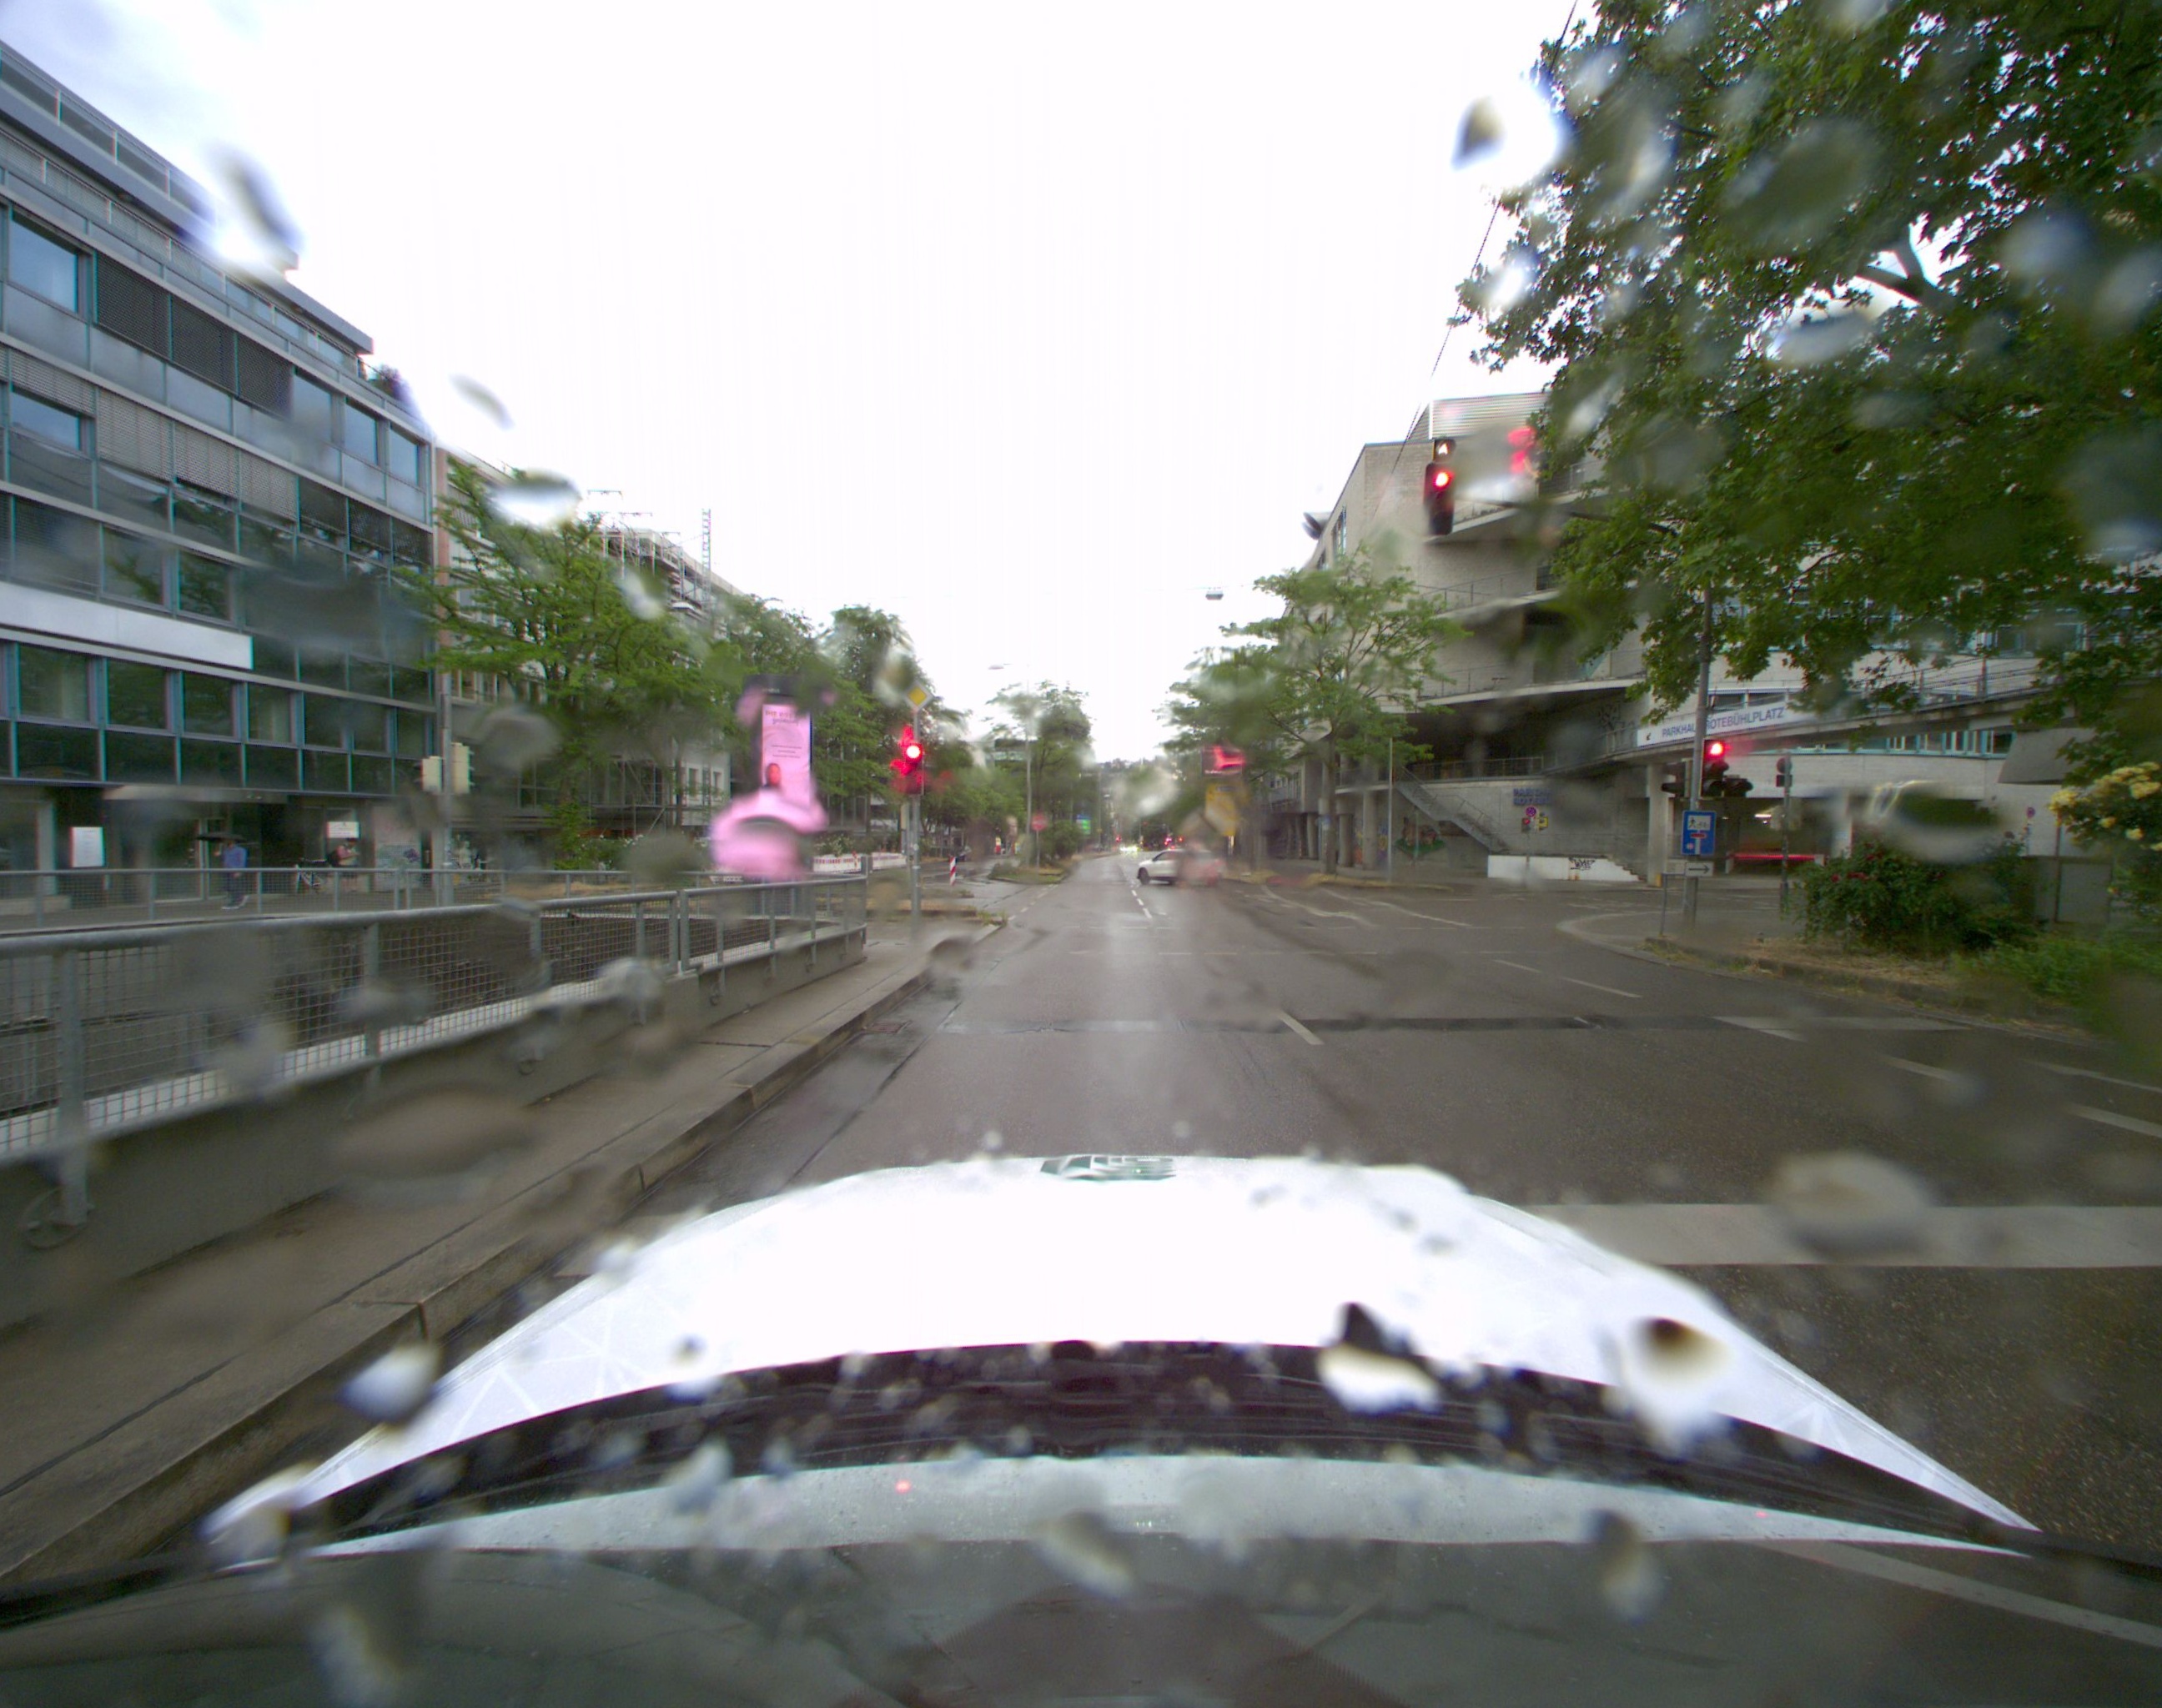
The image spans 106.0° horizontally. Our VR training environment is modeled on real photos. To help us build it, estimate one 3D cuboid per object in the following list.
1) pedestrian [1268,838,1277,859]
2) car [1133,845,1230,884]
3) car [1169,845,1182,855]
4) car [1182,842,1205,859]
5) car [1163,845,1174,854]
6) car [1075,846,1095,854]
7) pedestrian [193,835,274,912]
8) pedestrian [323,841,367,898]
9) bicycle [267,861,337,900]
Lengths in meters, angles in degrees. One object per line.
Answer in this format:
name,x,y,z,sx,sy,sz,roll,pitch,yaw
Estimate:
pedestrian,17.581,-0.519,74.813,0.770,1.920,0.705,-1,-1,11
car,4.361,0.426,35.928,1.842,1.640,4.255,1,0,-35
car,17.536,-0.723,150.700,1.986,1.723,4.001,0,-1,1
car,11.537,-0.368,83.340,2.324,1.691,4.010,0,0,9
car,17.868,-0.898,166.640,1.986,1.736,4.001,0,-1,2
car,0.945,-1.008,186.390,3.998,1.758,1.988,1,0,-19
pedestrian,-20.921,0.473,20.128,0.854,1.838,1.060,1,0,2
pedestrian,-22.812,0.481,25.237,0.694,1.741,0.694,1,0,-4
bicycle,-22.958,0.770,24.036,0.444,1.085,1.567,0,0,6
